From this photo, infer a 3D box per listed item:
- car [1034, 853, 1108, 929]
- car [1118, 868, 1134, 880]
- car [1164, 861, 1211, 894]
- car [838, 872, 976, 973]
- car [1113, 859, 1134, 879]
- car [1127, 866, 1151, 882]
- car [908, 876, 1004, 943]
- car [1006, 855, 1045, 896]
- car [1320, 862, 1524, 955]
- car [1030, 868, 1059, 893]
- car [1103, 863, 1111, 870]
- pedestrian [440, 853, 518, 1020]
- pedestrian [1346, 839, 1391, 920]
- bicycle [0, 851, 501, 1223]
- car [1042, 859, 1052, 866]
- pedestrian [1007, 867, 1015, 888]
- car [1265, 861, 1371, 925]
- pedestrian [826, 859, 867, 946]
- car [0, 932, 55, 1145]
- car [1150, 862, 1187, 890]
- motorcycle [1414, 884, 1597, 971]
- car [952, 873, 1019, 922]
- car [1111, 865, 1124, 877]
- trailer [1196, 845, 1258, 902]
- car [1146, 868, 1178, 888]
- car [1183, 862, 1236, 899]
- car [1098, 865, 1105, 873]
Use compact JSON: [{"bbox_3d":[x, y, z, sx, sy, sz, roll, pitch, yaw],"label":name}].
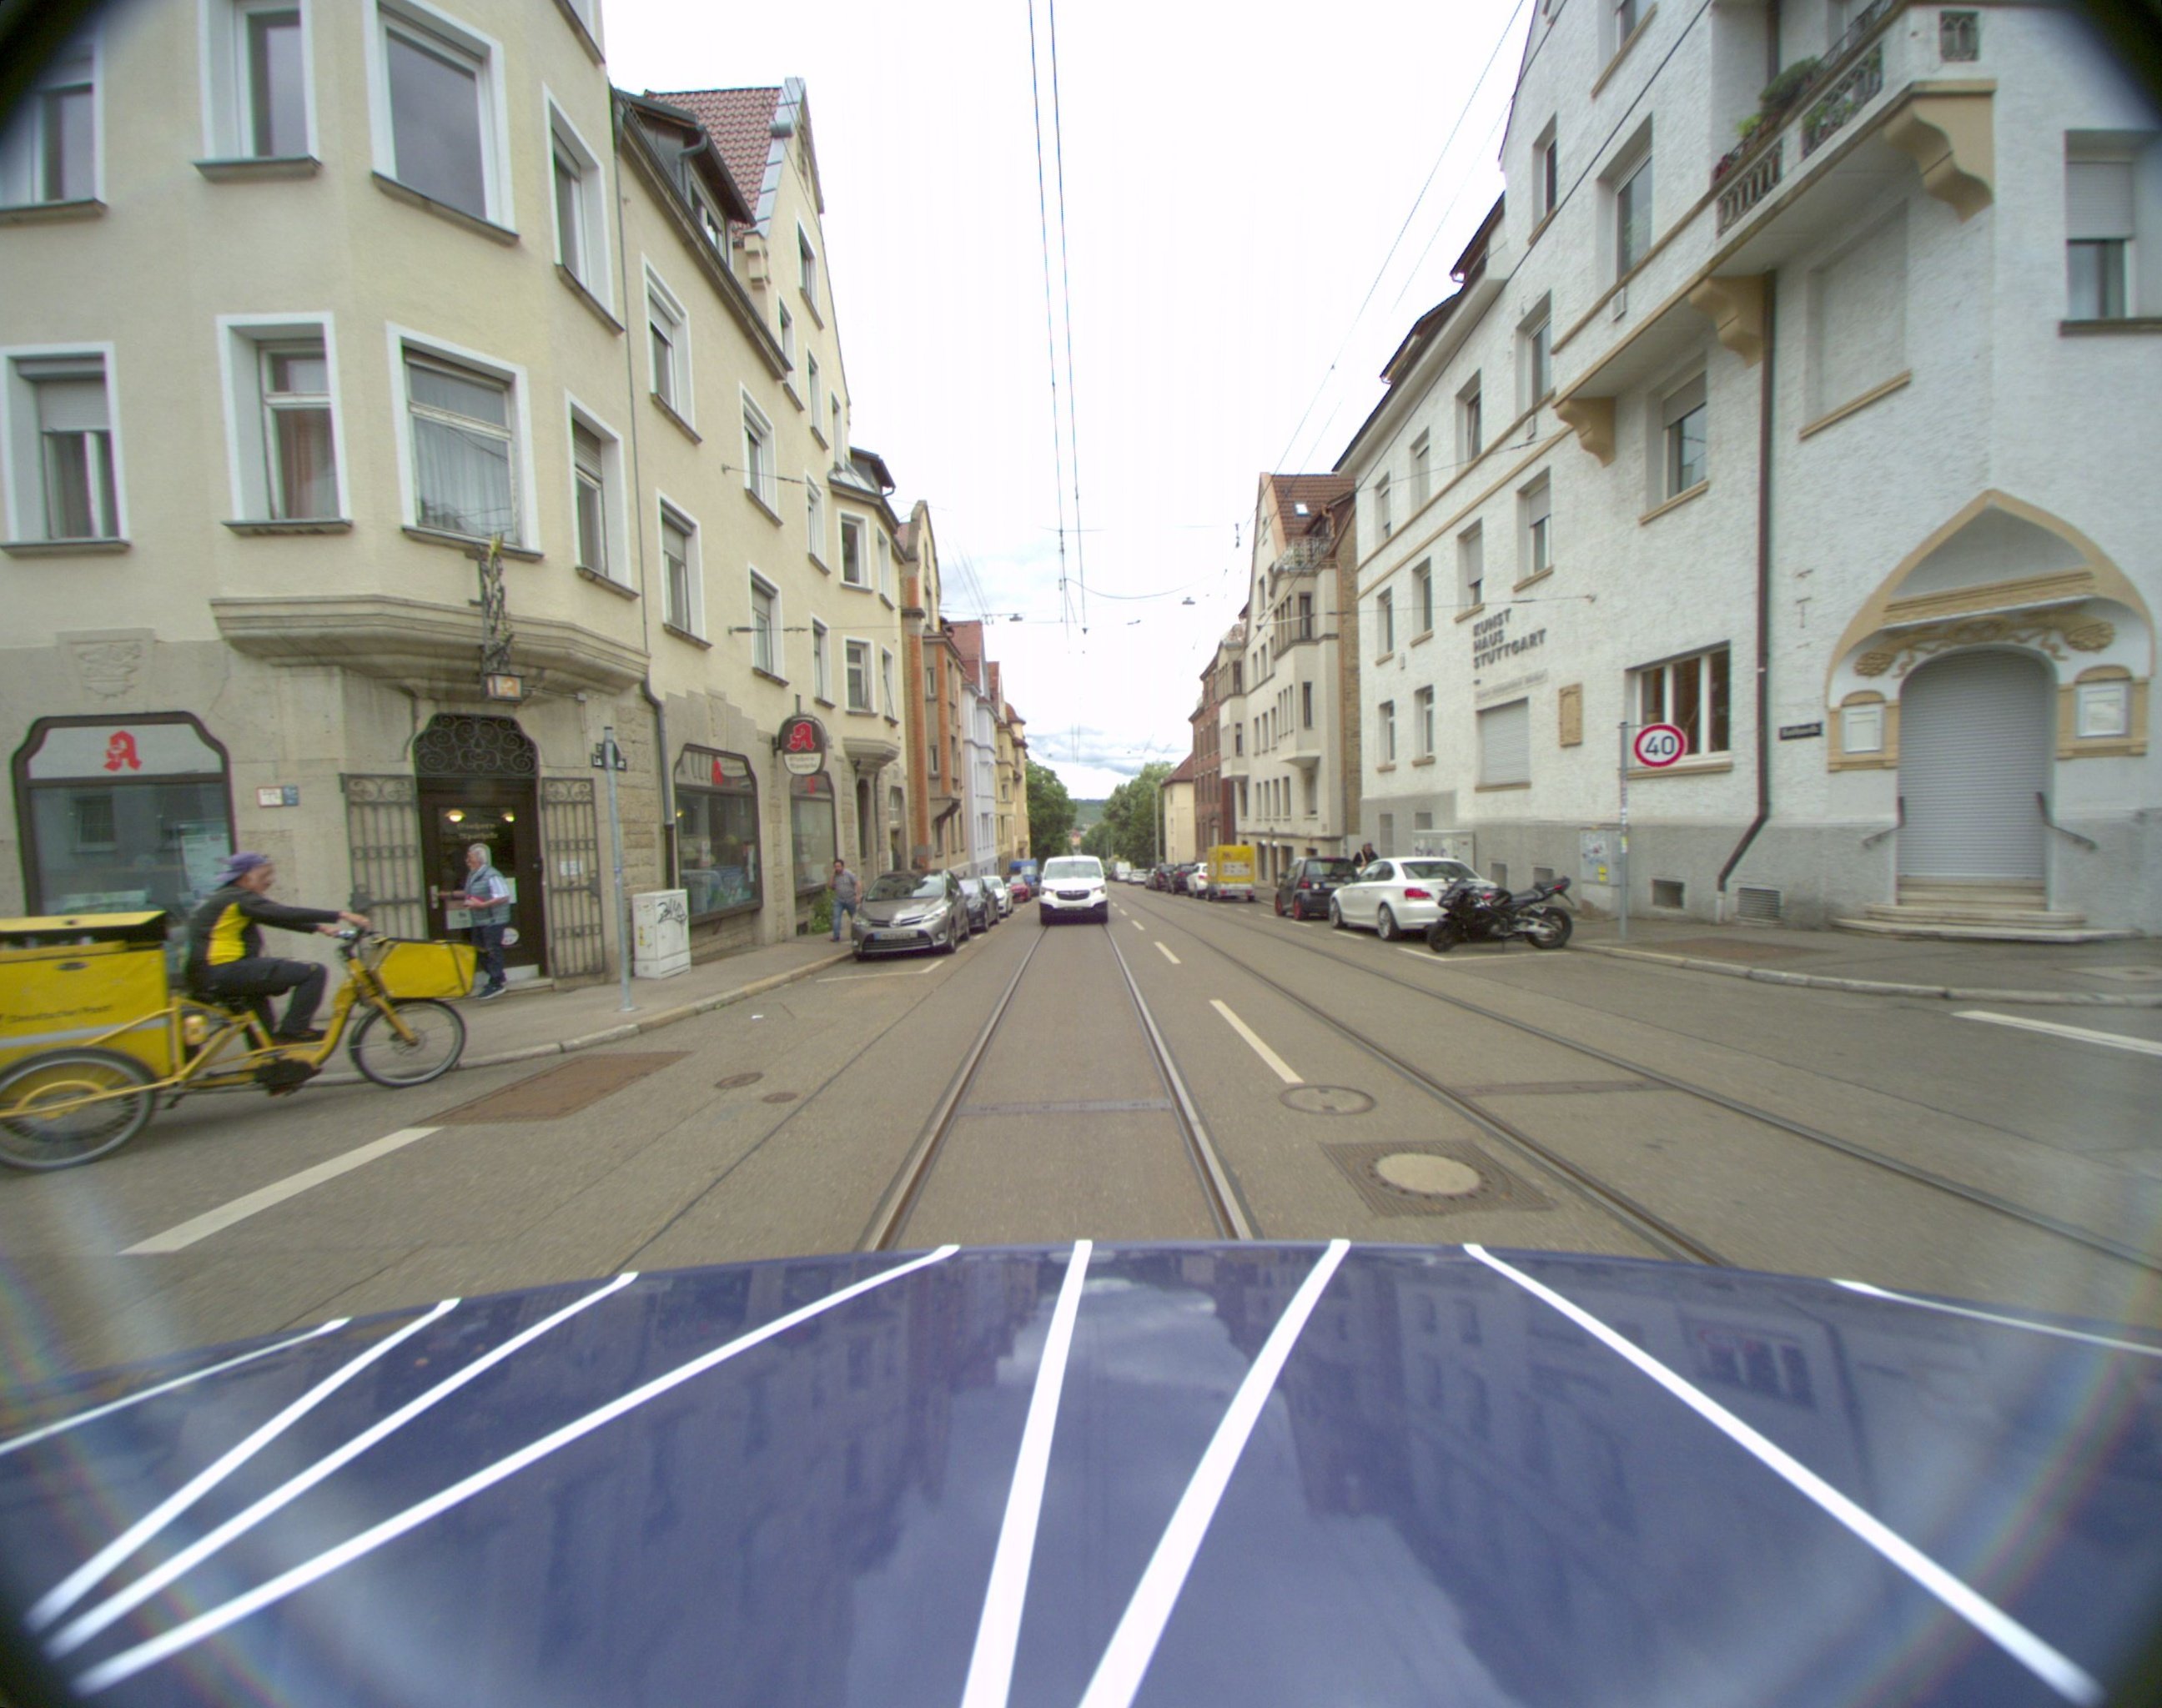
[{"bbox_3d":[-0.197,0.941,21.043,1.759,1.824,4.448,-2,-1,1],"label":"car"},{"bbox_3d":[5.372,2.366,91.246,1.723,1.394,4.314,1,-1,0],"label":"car"},{"bbox_3d":[5.631,1.257,40.701,1.878,1.654,4.892,0,-1,1],"label":"car"},{"bbox_3d":[-3.215,1.188,14.981,1.740,1.528,4.573,-4,-1,-2],"label":"car"},{"bbox_3d":[5.655,2.004,101.501,2.164,2.591,6.219,1,-1,-2],"label":"car"},{"bbox_3d":[5.561,1.950,73.344,1.832,1.420,4.627,2,-1,-2],"label":"car"},{"bbox_3d":[-3.186,1.372,20.291,1.784,1.382,4.692,-4,-1,-1],"label":"car"},{"bbox_3d":[-3.485,1.326,48.344,1.999,2.362,5.056,-2,0,0],"label":"car"},{"bbox_3d":[5.845,0.851,13.660,1.784,1.349,4.292,-2,-1,1],"label":"car"},{"bbox_3d":[-2.574,1.875,54.270,1.784,1.521,4.192,-5,-1,-1],"label":"car"},{"bbox_3d":[6.078,2.857,177.741,1.856,1.531,3.949,-2,-1,0],"label":"car"},{"bbox_3d":[-6.622,0.885,8.364,0.483,1.757,0.493,-3,0,34],"label":"pedestrian"},{"bbox_3d":[7.130,0.621,18.888,0.590,1.895,0.811,-7,0,-1],"label":"pedestrian"},{"bbox_3d":[-5.590,0.980,4.856,1.179,1.855,2.734,-3,0,42],"label":"bicycle"},{"bbox_3d":[-7.582,1.947,168.410,1.863,1.434,4.389,-5,-1,0],"label":"car"},{"bbox_3d":[-5.494,1.848,59.966,0.542,1.672,0.516,2,2,-8],"label":"pedestrian"},{"bbox_3d":[5.782,0.910,18.860,1.701,1.460,3.023,0,-1,0],"label":"car"},{"bbox_3d":[-4.957,1.006,16.077,0.600,1.792,0.632,-2,0,0],"label":"pedestrian"},{"bbox_3d":[-9.441,1.390,4.694,3.857,1.455,1.580,-3,0,-2],"label":"car"},{"bbox_3d":[5.569,1.391,48.723,1.832,1.708,4.914,0,-1,1],"label":"car"},{"bbox_3d":[5.886,1.003,10.675,2.111,1.127,0.767,-1,-1,14],"label":"motorcycle"},{"bbox_3d":[-3.216,1.436,26.293,1.755,1.382,4.307,-4,-1,-1],"label":"car"},{"bbox_3d":[5.515,2.577,115.818,1.766,1.765,4.669,1,-1,1],"label":"car"},{"bbox_3d":[5.746,0.774,30.367,1.753,2.142,4.072,0,-1,1],"label":"trailer"},{"bbox_3d":[5.729,1.700,54.457,1.832,1.420,4.840,0,-1,1],"label":"car"},{"bbox_3d":[5.760,1.170,34.429,1.701,1.584,4.269,0,-1,1],"label":"car"},{"bbox_3d":[5.269,3.791,196.238,1.901,1.935,4.291,0,-1,0],"label":"car"}]
